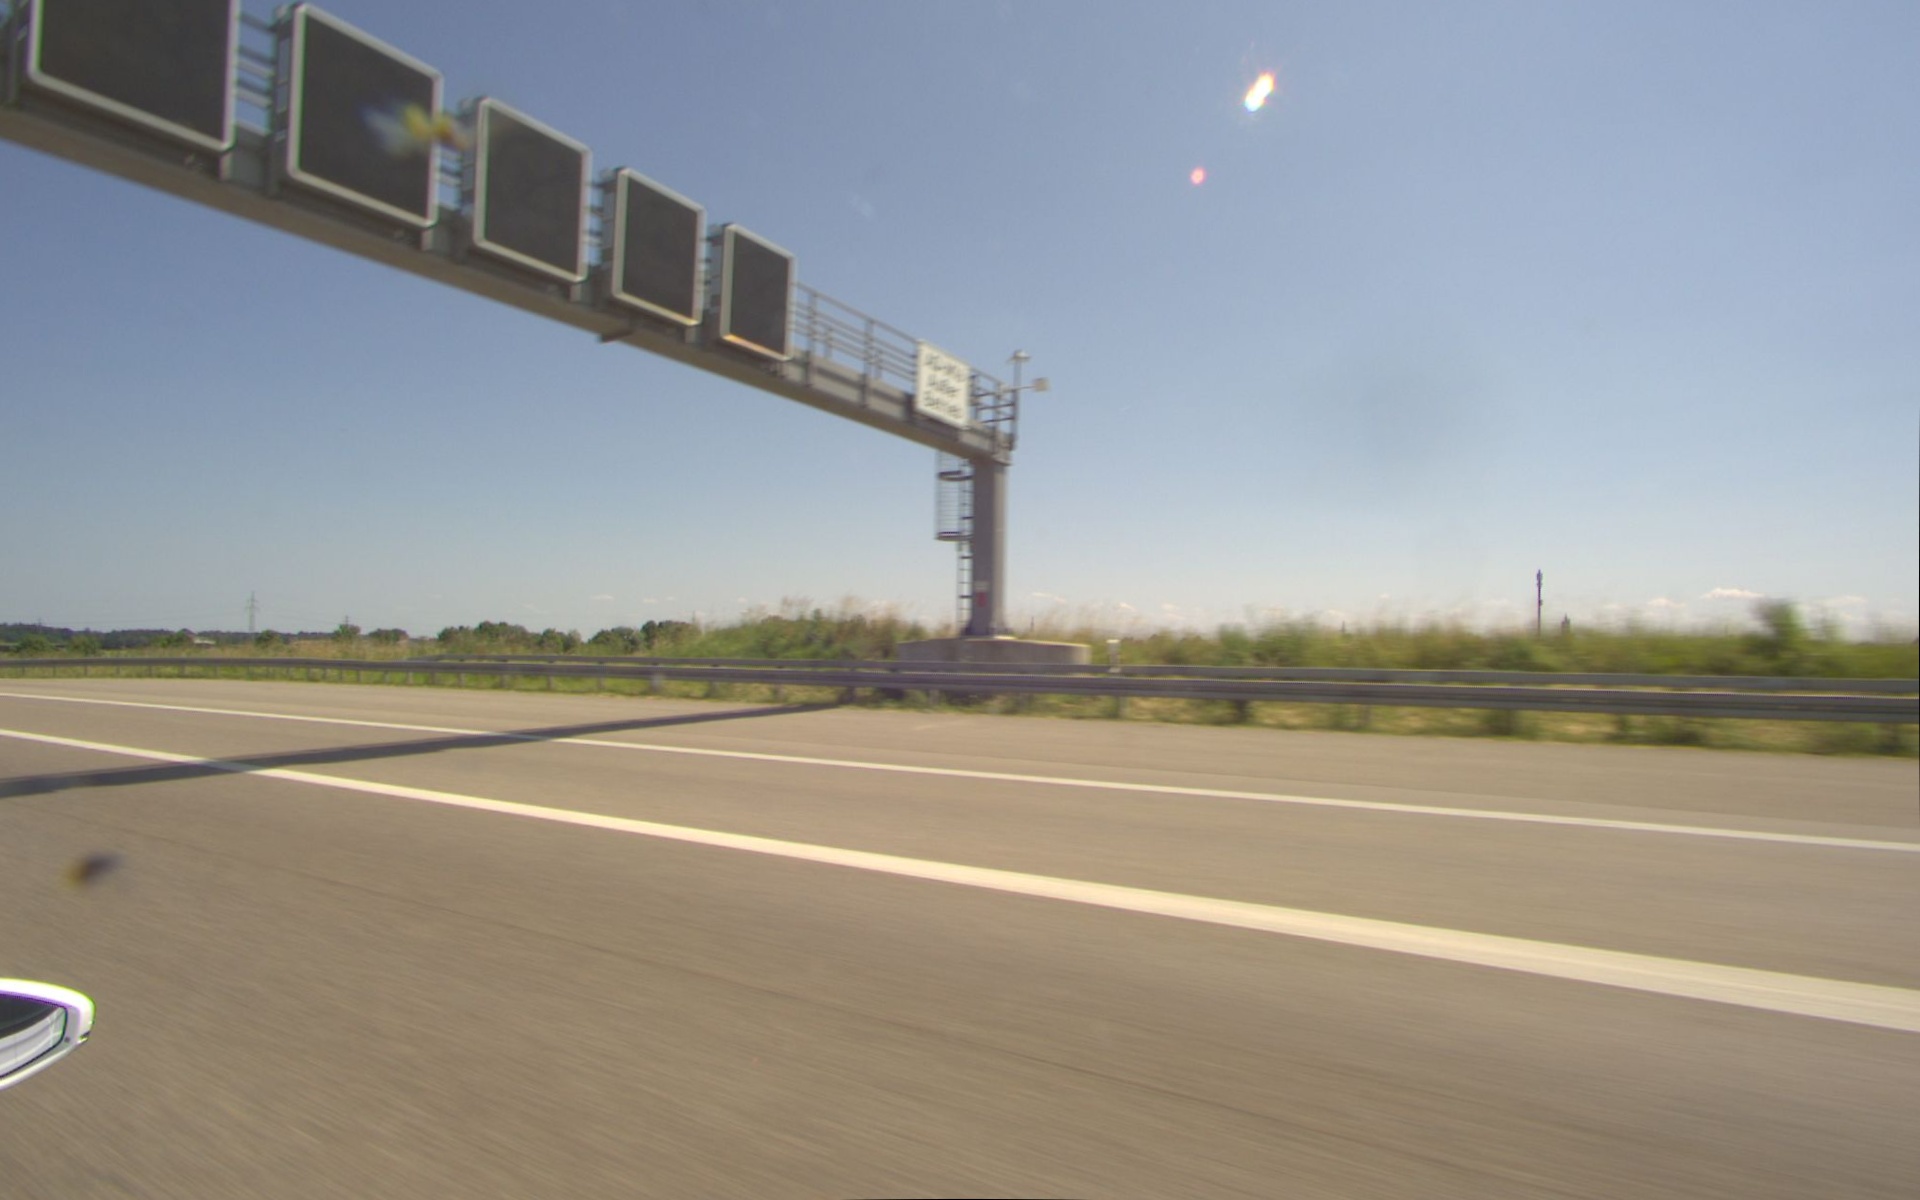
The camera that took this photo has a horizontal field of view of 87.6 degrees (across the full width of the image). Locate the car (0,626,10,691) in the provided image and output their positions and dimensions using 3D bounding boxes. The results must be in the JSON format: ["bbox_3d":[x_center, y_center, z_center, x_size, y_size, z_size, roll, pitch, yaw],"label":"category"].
[{"bbox_3d":[-25.231,1.414,24.423,4.198,1.549,1.889,-1,-2,30],"label":"car"}]
